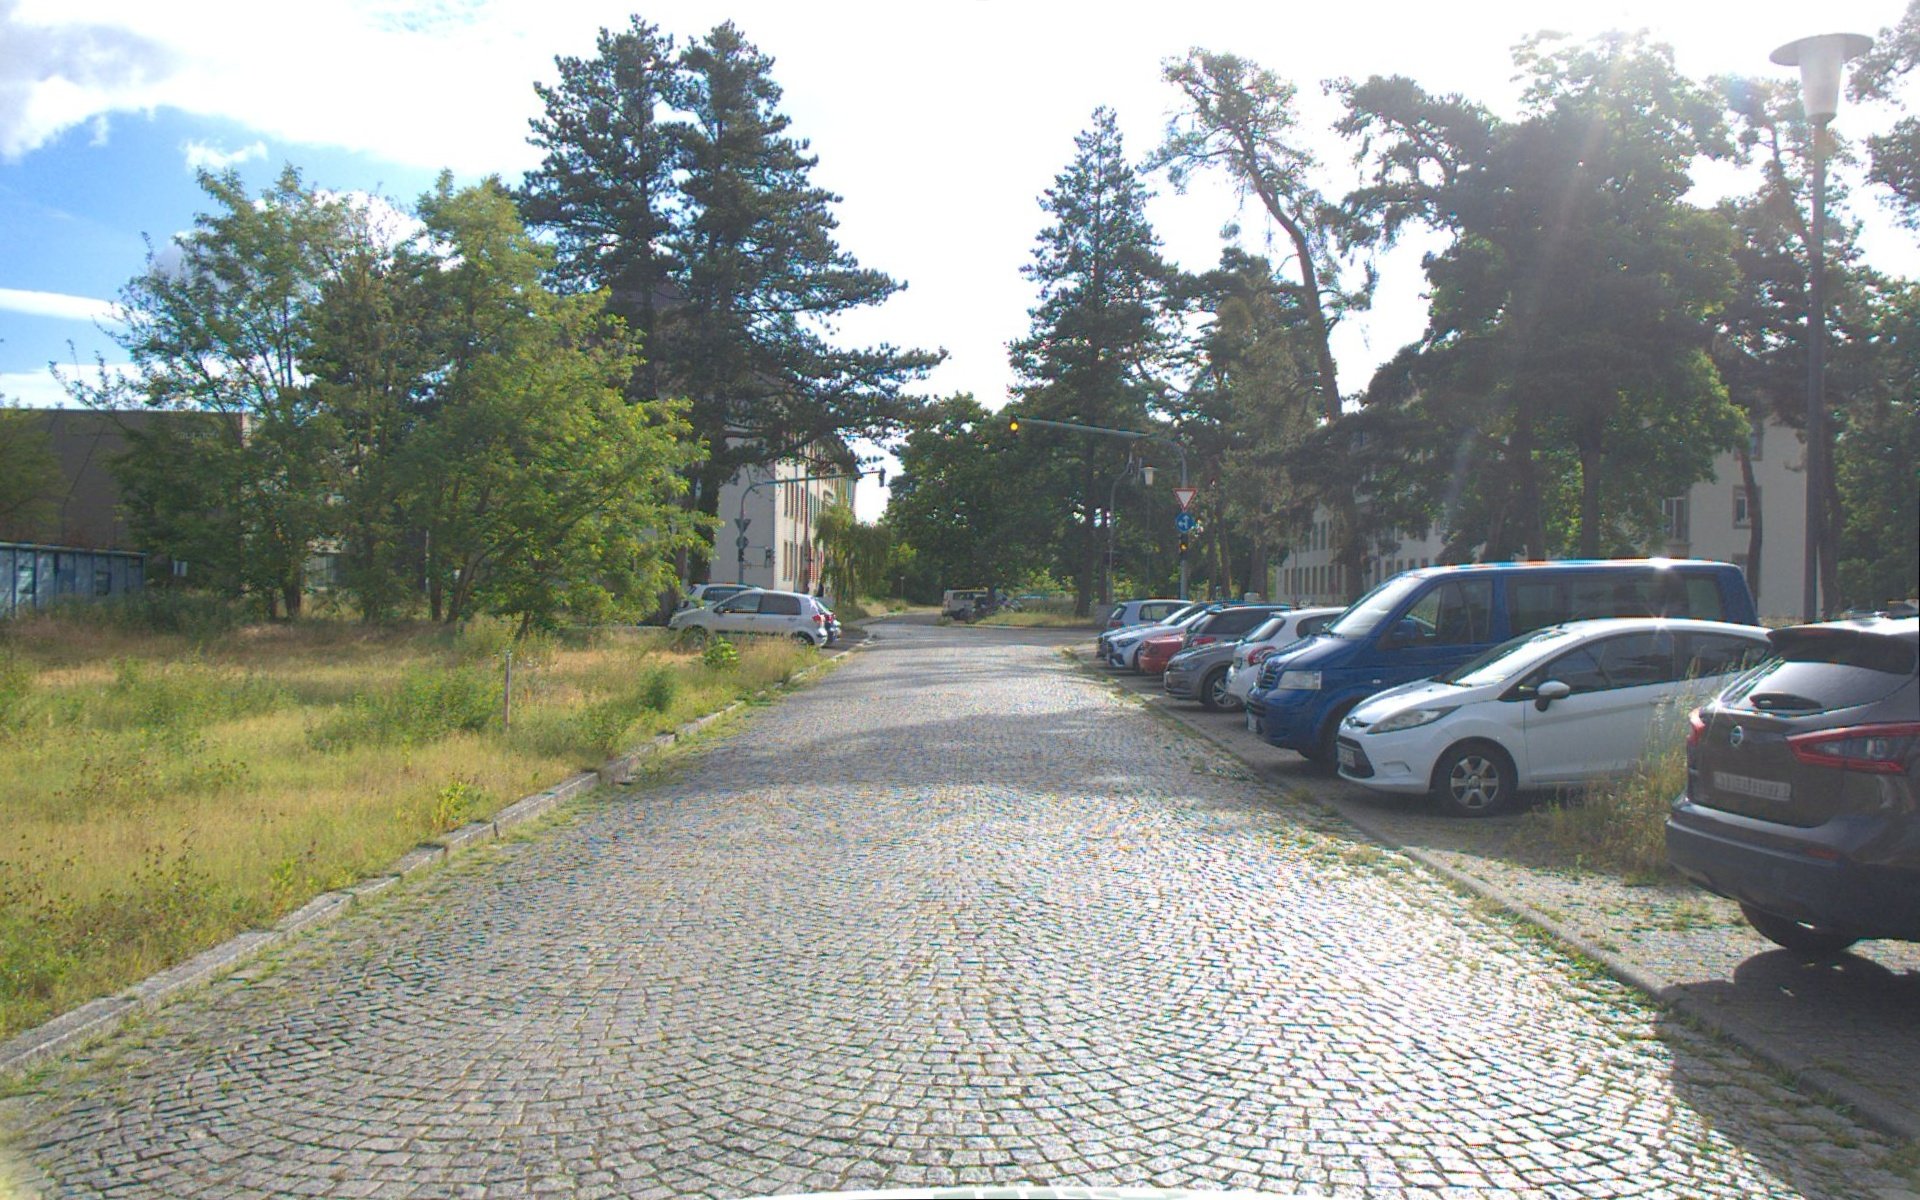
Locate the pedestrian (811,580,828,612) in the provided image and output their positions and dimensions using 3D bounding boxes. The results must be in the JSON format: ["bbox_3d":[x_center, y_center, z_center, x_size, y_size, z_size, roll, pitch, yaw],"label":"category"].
[{"bbox_3d":[-8.769,-0.231,103.154,0.965,1.998,0.932,1,-1,-1],"label":"pedestrian"}]

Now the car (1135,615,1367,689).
[{"bbox_3d":[5.180,0.909,29.784,3.870,1.283,1.726,0,-1,0],"label":"car"}]

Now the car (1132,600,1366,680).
[{"bbox_3d":[5.554,0.769,32.166,4.252,1.499,1.739,0,-1,-1],"label":"car"}]

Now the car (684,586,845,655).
[{"bbox_3d":[-4.853,0.517,41.519,3.751,1.454,1.858,4,-1,-1],"label":"car"}]

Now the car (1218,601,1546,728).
[{"bbox_3d":[5.360,0.807,21.368,3.795,1.557,1.807,0,-1,0],"label":"car"}]

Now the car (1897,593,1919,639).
[{"bbox_3d":[56.042,0.943,93.339,5.052,2.580,2.264,1,-1,1],"label":"car"}]

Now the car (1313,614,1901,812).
[{"bbox_3d":[5.148,0.864,13.501,4.108,1.495,1.806,0,-1,-4],"label":"car"}]

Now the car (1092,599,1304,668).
[{"bbox_3d":[5.307,0.751,37.213,4.418,1.499,1.893,0,-1,-5],"label":"car"}]

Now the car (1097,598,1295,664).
[{"bbox_3d":[5.639,0.737,39.841,4.452,1.532,1.932,0,-1,-2],"label":"car"}]

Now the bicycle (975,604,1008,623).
[{"bbox_3d":[1.749,0.763,91.910,1.756,1.016,0.644,0,1,-2],"label":"bicycle"}]

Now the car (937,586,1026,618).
[{"bbox_3d":[1.379,0.131,106.827,5.408,1.949,2.246,1,-1,-14],"label":"car"}]

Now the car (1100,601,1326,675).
[{"bbox_3d":[5.212,0.777,34.433,4.415,1.499,1.849,0,-1,-1],"label":"car"}]

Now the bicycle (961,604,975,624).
[{"bbox_3d":[0.431,0.736,87.288,0.713,1.016,1.799,0,1,0],"label":"bicycle"}]

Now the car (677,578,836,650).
[{"bbox_3d":[-5.401,0.380,44.209,4.041,1.627,1.857,4,-1,-5],"label":"car"}]

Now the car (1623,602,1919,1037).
[{"bbox_3d":[5.290,0.830,7.147,4.105,1.617,1.877,0,-1,-1],"label":"car"}]

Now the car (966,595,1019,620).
[{"bbox_3d":[2.049,0.471,103.263,2.980,1.491,1.714,1,-1,-13],"label":"car"}]

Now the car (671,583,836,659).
[{"bbox_3d":[-4.803,0.497,38.864,3.609,1.499,1.849,4,-1,-2],"label":"car"}]

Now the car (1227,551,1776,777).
[{"bbox_3d":[5.086,0.587,16.014,4.637,1.962,1.992,-1,-1,-1],"label":"car"}]

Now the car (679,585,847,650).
[{"bbox_3d":[-5.505,0.469,46.750,4.496,1.480,1.902,4,1,-3],"label":"car"}]

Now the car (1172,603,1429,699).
[{"bbox_3d":[5.526,0.815,27.149,3.870,1.521,1.772,0,-1,0],"label":"car"}]

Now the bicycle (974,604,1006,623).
[{"bbox_3d":[1.706,0.773,93.410,1.756,1.016,0.644,0,1,-2],"label":"bicycle"}]

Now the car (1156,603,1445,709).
[{"bbox_3d":[4.912,0.797,24.221,3.870,1.493,1.830,0,-1,0],"label":"car"}]
